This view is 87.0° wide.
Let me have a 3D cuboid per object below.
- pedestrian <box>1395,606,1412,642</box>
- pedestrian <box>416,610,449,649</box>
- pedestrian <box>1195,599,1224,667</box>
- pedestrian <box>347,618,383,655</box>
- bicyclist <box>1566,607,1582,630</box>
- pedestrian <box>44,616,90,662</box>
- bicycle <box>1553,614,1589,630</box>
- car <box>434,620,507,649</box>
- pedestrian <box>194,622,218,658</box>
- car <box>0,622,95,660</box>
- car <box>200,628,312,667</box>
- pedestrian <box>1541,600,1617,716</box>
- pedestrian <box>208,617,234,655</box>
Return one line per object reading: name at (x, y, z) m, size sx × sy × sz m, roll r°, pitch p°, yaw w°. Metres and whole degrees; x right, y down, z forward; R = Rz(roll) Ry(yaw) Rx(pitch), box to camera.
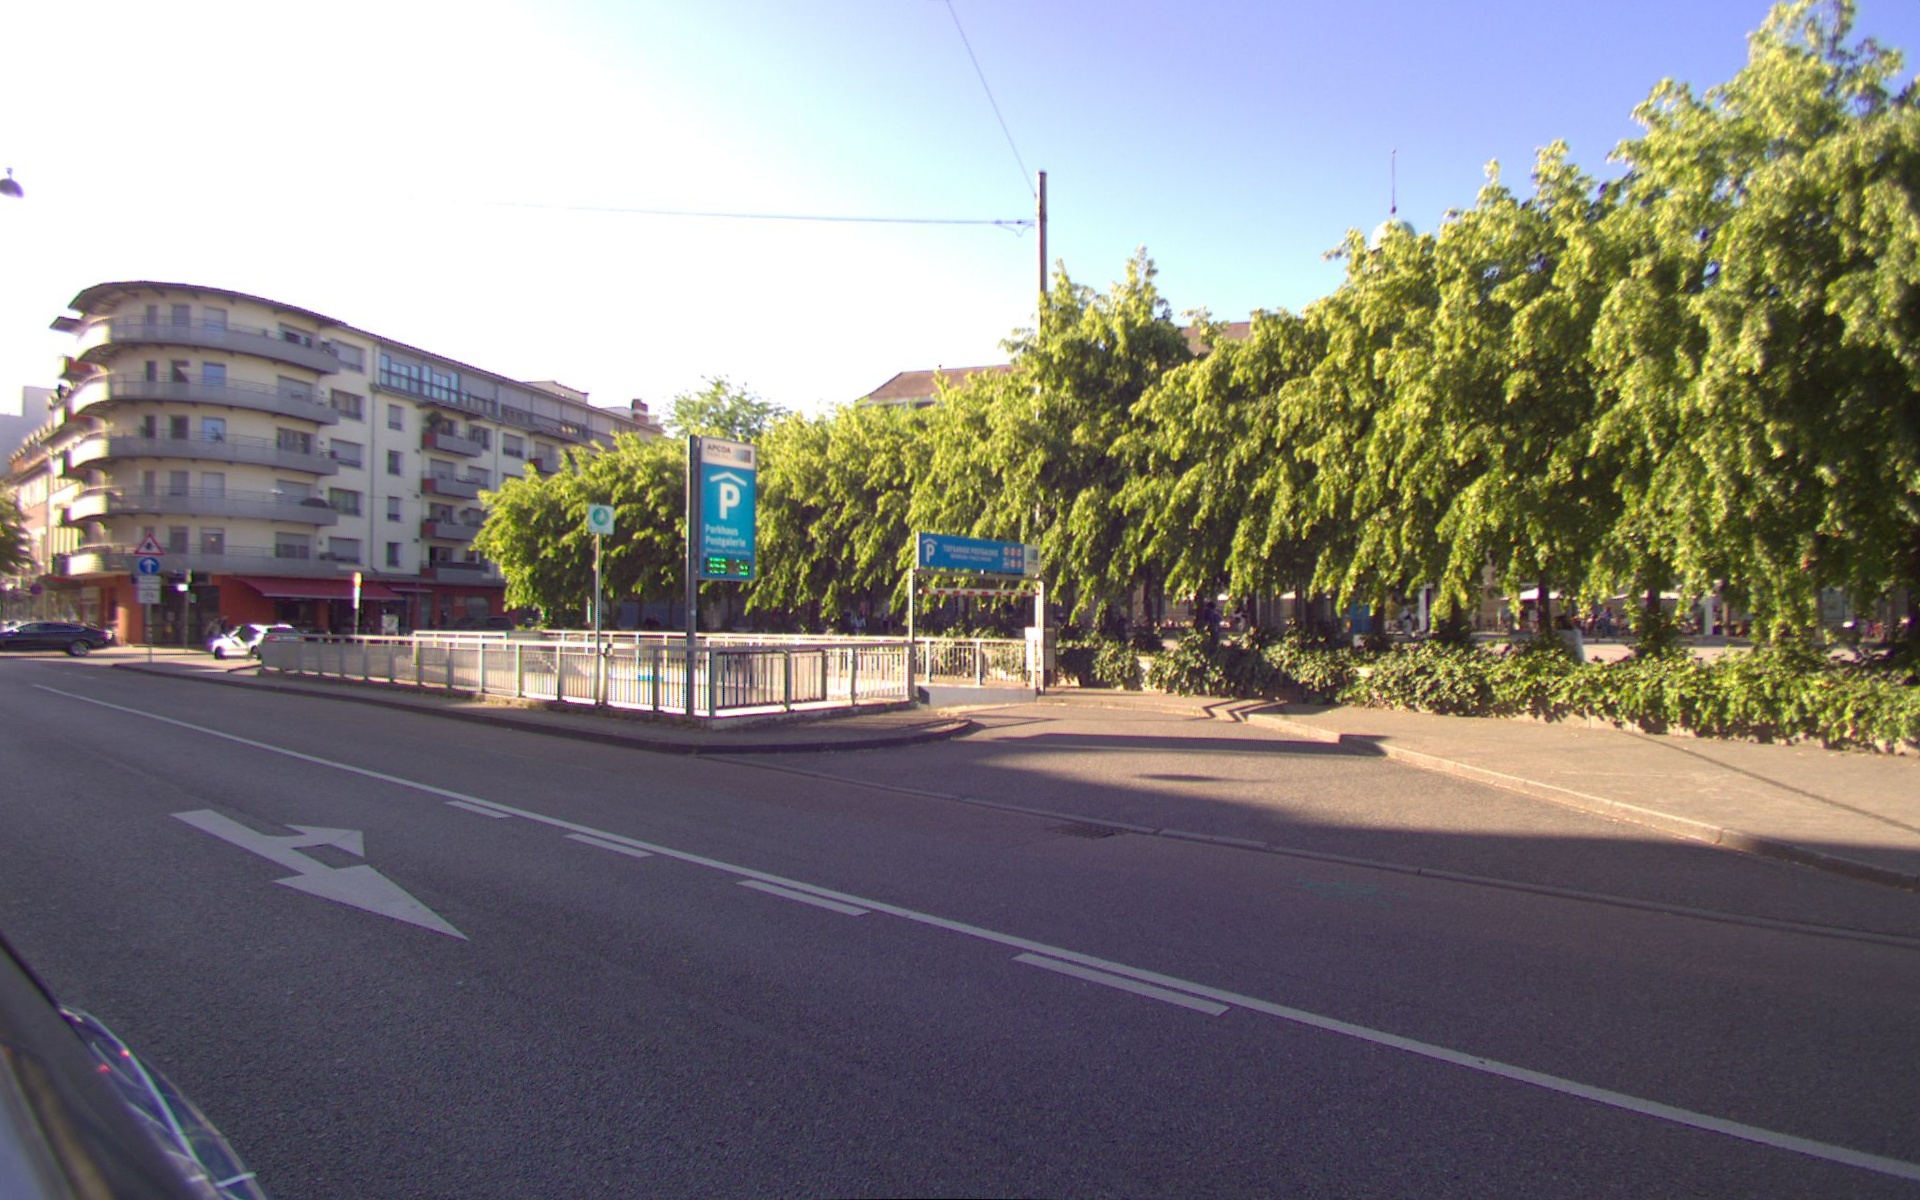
pedestrian at (24.548, 1.311, 55.977) m, size 0.751 × 1.948 × 0.938 m, roll -1°, pitch -1°, yaw 20°
pedestrian at (-28.197, 1.548, 54.072) m, size 1.298 × 2.029 × 1.298 m, roll 0°, pitch -1°, yaw -40°
pedestrian at (6.260, 0.827, 25.419) m, size 0.672 × 1.683 × 0.843 m, roll -1°, pitch -1°, yaw 13°
pedestrian at (-32.704, 1.998, 55.618) m, size 1.251 × 2.029 × 1.226 m, roll -1°, pitch -1°, yaw 19°
bicyclist at (39.569, 1.180, 65.229) m, size 0.693 × 1.439 × 0.669 m, roll -1°, pitch -1°, yaw 20°
pedestrian at (-40.751, 1.755, 46.203) m, size 1.008 × 2.029 × 1.198 m, roll -1°, pitch 0°, yaw 4°
bicycle at (39.430, 1.421, 65.293) m, size 1.891 × 0.961 × 0.585 m, roll -1°, pitch -1°, yaw 19°
car at (-30.520, 2.126, 63.211) m, size 1.983 × 1.763 × 3.977 m, roll -1°, pitch -1°, yaw 17°
pedestrian at (-36.335, 1.919, 48.773) m, size 0.694 × 1.719 × 0.670 m, roll -1°, pitch -1°, yaw 20°
car at (-37.072, 1.607, 39.907) m, size 1.999 × 1.394 × 4.231 m, roll -1°, pitch -1°, yaw 40°
car at (-27.968, 1.871, 40.216) m, size 4.226 × 1.445 × 1.789 m, roll -1°, pitch -1°, yaw 25°
pedestrian at (9.770, 0.893, 15.982) m, size 0.885 × 1.771 × 0.738 m, roll 0°, pitch -1°, yaw -39°
pedestrian at (-36.200, 1.756, 49.569) m, size 0.746 × 1.819 × 0.755 m, roll -1°, pitch -1°, yaw -1°
